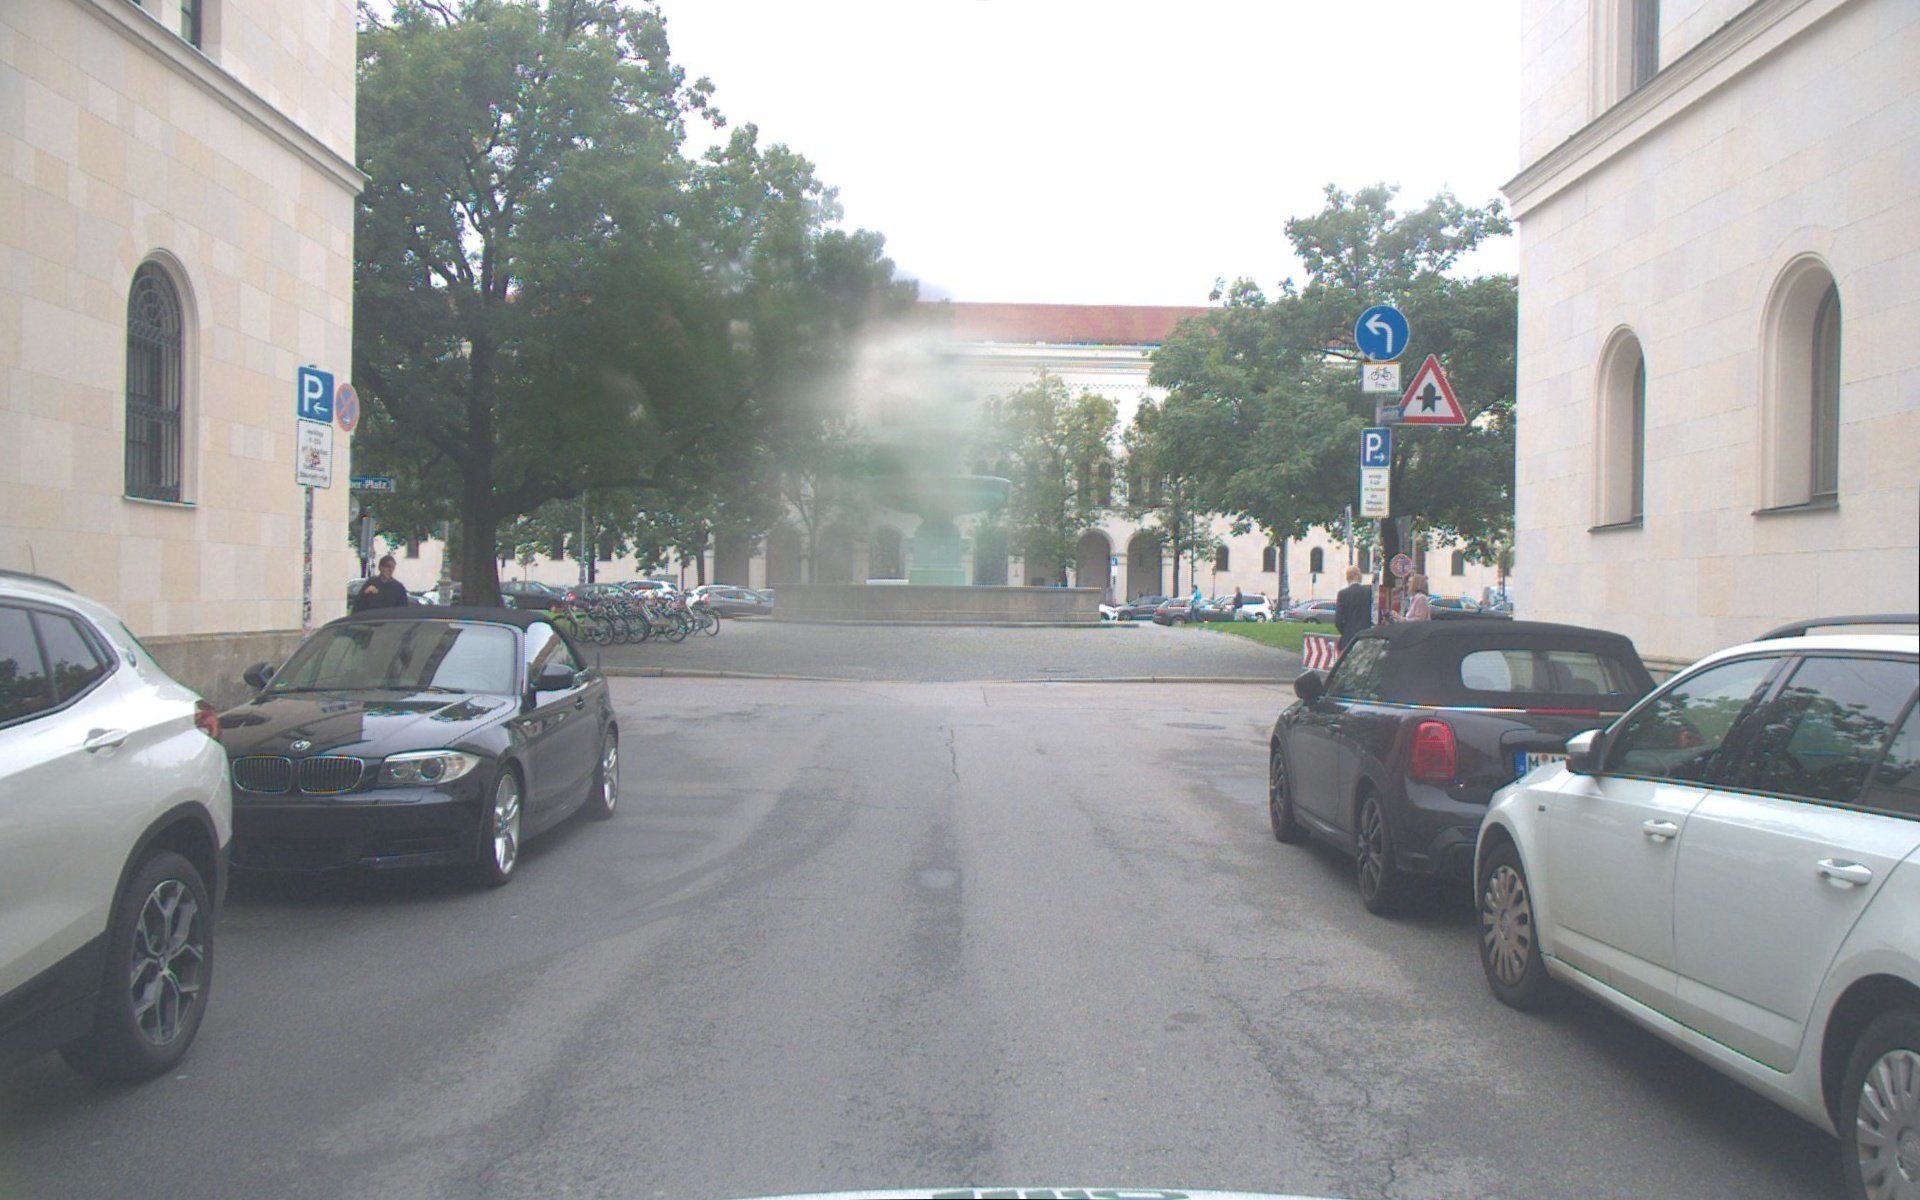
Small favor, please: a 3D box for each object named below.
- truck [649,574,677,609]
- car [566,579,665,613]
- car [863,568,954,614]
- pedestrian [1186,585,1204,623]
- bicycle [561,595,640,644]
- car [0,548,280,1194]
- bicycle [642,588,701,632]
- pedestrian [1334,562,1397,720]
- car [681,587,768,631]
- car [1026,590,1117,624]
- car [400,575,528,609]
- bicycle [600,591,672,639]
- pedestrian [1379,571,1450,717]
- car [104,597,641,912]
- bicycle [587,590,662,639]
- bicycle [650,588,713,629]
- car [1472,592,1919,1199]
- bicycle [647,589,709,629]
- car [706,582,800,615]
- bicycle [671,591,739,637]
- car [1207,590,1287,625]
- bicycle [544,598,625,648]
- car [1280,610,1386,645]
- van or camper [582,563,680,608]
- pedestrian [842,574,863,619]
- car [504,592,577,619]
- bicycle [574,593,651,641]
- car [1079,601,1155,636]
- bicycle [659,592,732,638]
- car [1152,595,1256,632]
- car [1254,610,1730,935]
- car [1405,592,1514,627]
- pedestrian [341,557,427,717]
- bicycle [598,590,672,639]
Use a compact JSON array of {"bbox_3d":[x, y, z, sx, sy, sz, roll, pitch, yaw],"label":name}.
[{"bbox_3d":[-22.750,-0.647,126.486,1.958,2.532,3.989,1,1,-12],"label":"truck"},{"bbox_3d":[-14.938,-0.190,71.783,3.907,1.400,1.999,1,1,-2],"label":"car"},{"bbox_3d":[-2.457,-0.446,79.800,4.236,2.049,1.825,1,1,3],"label":"car"},{"bbox_3d":[9.291,0.141,65.311,0.570,1.491,0.548,1,1,22],"label":"pedestrian"},{"bbox_3d":[-8.220,0.439,37.839,1.584,1.054,0.699,2,1,10],"label":"bicycle"},{"bbox_3d":[-3.186,0.663,3.628,1.742,1.561,4.210,-1,0,-2],"label":"car"},{"bbox_3d":[-7.597,0.249,43.526,1.371,1.118,0.657,2,1,10],"label":"bicycle"},{"bbox_3d":[4.778,0.474,19.521,0.628,1.839,0.489,1,0,5],"label":"pedestrian"},{"bbox_3d":[-10.931,0.404,77.029,3.810,1.901,1.771,1,1,-2],"label":"car"},{"bbox_3d":[4.857,0.294,72.376,3.904,1.427,1.825,0,0,1],"label":"car"},{"bbox_3d":[-21.542,-0.351,72.023,4.971,1.400,1.999,1,1,-3],"label":"car"},{"bbox_3d":[-8.045,0.363,41.056,1.584,1.118,0.699,2,1,10],"label":"bicycle"},{"bbox_3d":[5.456,0.521,19.888,0.608,1.711,0.545,2,0,-7],"label":"pedestrian"},{"bbox_3d":[-3.095,0.712,9.684,1.664,1.417,4.211,-1,0,-1],"label":"car"},{"bbox_3d":[-7.966,0.340,39.317,1.584,1.118,0.699,2,1,10],"label":"bicycle"},{"bbox_3d":[-7.469,0.226,44.401,1.503,1.037,0.699,2,1,10],"label":"bicycle"},{"bbox_3d":[2.994,0.746,4.690,1.752,1.502,4.313,0,1,0],"label":"car"},{"bbox_3d":[-7.715,0.249,45.329,1.503,1.037,0.699,2,1,10],"label":"bicycle"},{"bbox_3d":[-8.985,-0.077,72.089,3.907,1.400,1.999,1,1,-2],"label":"car"},{"bbox_3d":[-6.550,0.355,42.491,1.584,1.118,0.617,2,1,10],"label":"bicycle"},{"bbox_3d":[15.713,0.395,90.631,4.016,1.771,1.745,1,1,-4],"label":"car"},{"bbox_3d":[-8.380,0.502,36.932,1.584,1.054,0.699,2,1,10],"label":"bicycle"},{"bbox_3d":[16.327,1.199,72.523,4.267,1.443,1.804,1,1,0],"label":"car"},{"bbox_3d":[-16.381,-0.702,82.585,4.489,2.049,1.998,-2,-1,-4],"label":"van or camper"},{"bbox_3d":[-4.071,-0.146,62.687,0.735,1.668,0.710,1,1,-1],"label":"pedestrian"},{"bbox_3d":[-22.786,0.314,89.946,3.598,1.400,1.602,1,1,-2],"label":"car"},{"bbox_3d":[-8.093,0.388,38.557,1.584,1.054,0.699,2,1,10],"label":"bicycle"},{"bbox_3d":[8.569,0.990,90.567,3.906,1.780,1.808,1,1,-2],"label":"car"},{"bbox_3d":[-6.681,0.369,41.783,1.673,1.118,0.699,2,1,10],"label":"bicycle"},{"bbox_3d":[10.665,0.583,72.460,4.267,1.551,1.804,1,1,0],"label":"car"},{"bbox_3d":[2.795,0.809,9.526,1.508,1.451,3.772,1,0,0],"label":"car"},{"bbox_3d":[21.872,0.413,72.521,4.267,1.443,1.804,1,1,0],"label":"car"},{"bbox_3d":[-6.528,0.406,18.774,0.739,1.780,0.689,0,0,-3],"label":"pedestrian"},{"bbox_3d":[-7.859,0.338,40.042,1.584,1.118,0.699,2,1,10],"label":"bicycle"}]
